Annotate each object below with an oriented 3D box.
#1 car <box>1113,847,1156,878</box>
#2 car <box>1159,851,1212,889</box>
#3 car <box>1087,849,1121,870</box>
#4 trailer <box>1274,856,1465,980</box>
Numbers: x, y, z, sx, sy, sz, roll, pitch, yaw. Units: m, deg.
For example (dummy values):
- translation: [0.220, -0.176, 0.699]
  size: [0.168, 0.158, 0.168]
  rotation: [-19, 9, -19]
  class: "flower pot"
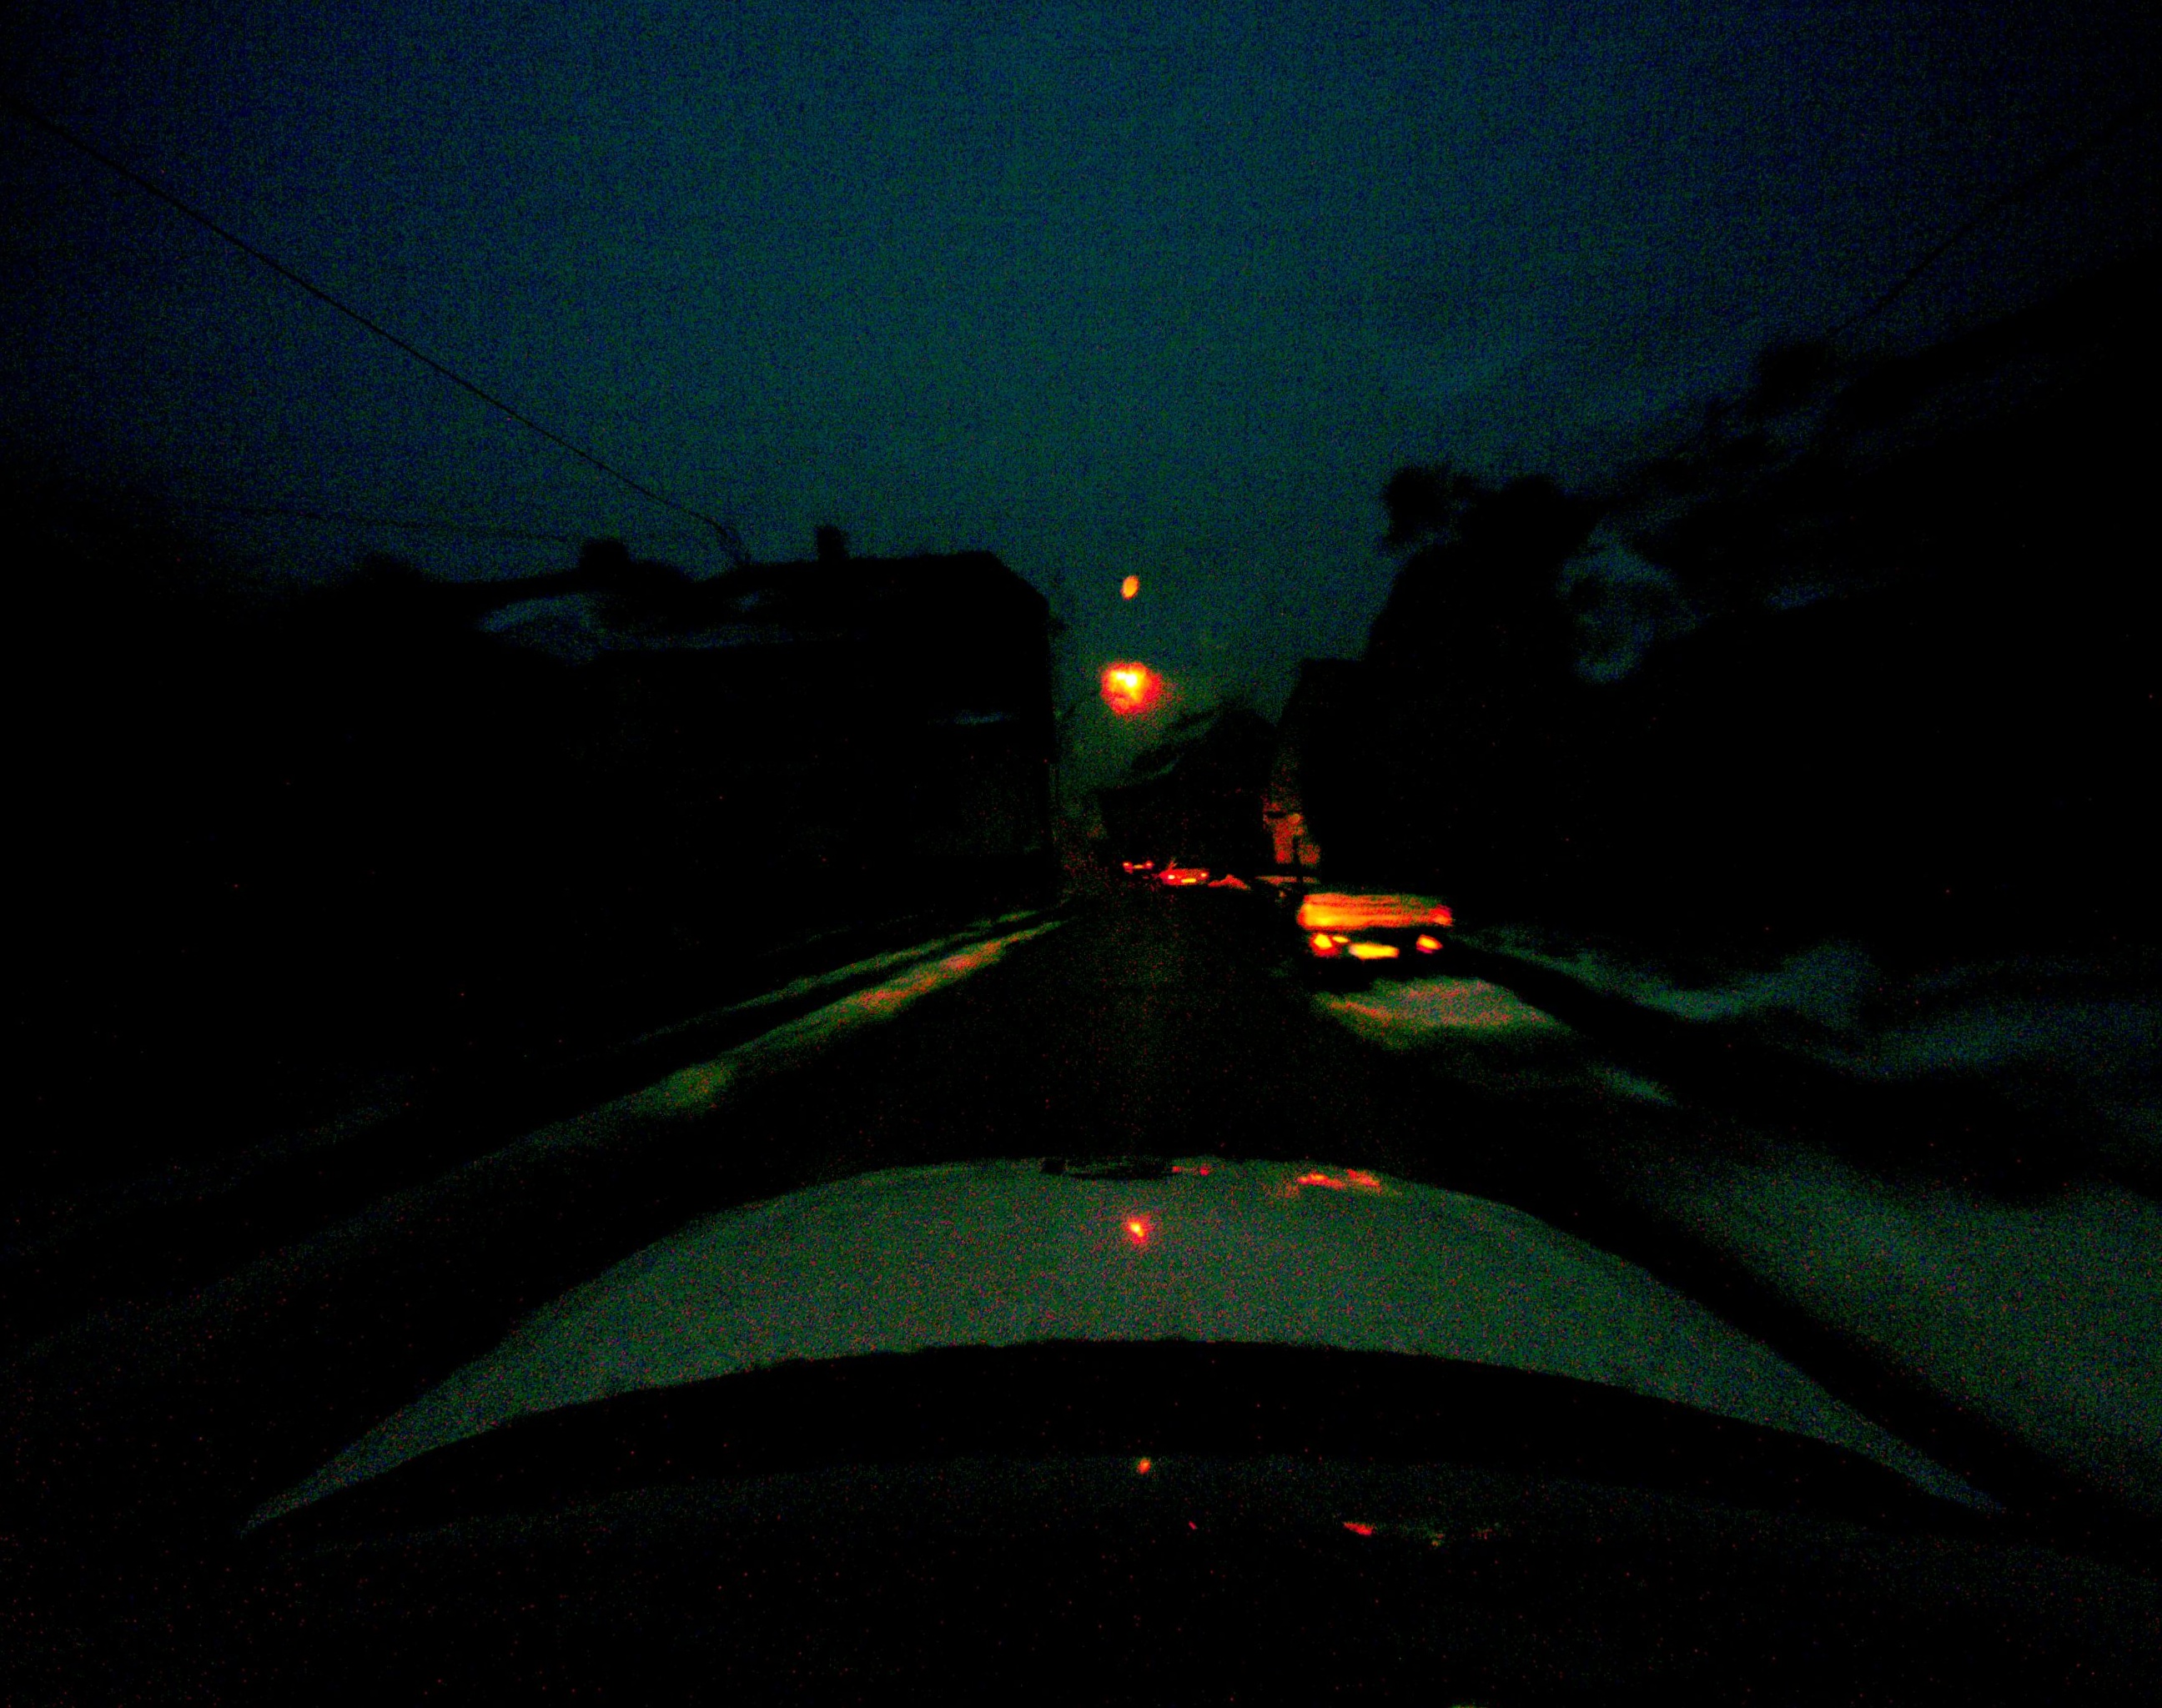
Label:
- translation: [3.088, 0.543, 47.778]
  size: [1.990, 1.728, 3.993]
  rotation: [0, -1, -4]
  class: "car"
- translation: [4.370, 0.664, 34.521]
  size: [1.985, 1.508, 4.004]
  rotation: [-1, -1, 4]
  class: "car"
- translation: [1.752, 0.397, 62.355]
  size: [1.909, 1.481, 4.271]
  rotation: [-3, 0, -7]
  class: "car"
- translation: [3.904, 0.751, 11.853]
  size: [1.980, 1.388, 4.746]
  rotation: [-1, 0, 11]
  class: "trailer"
